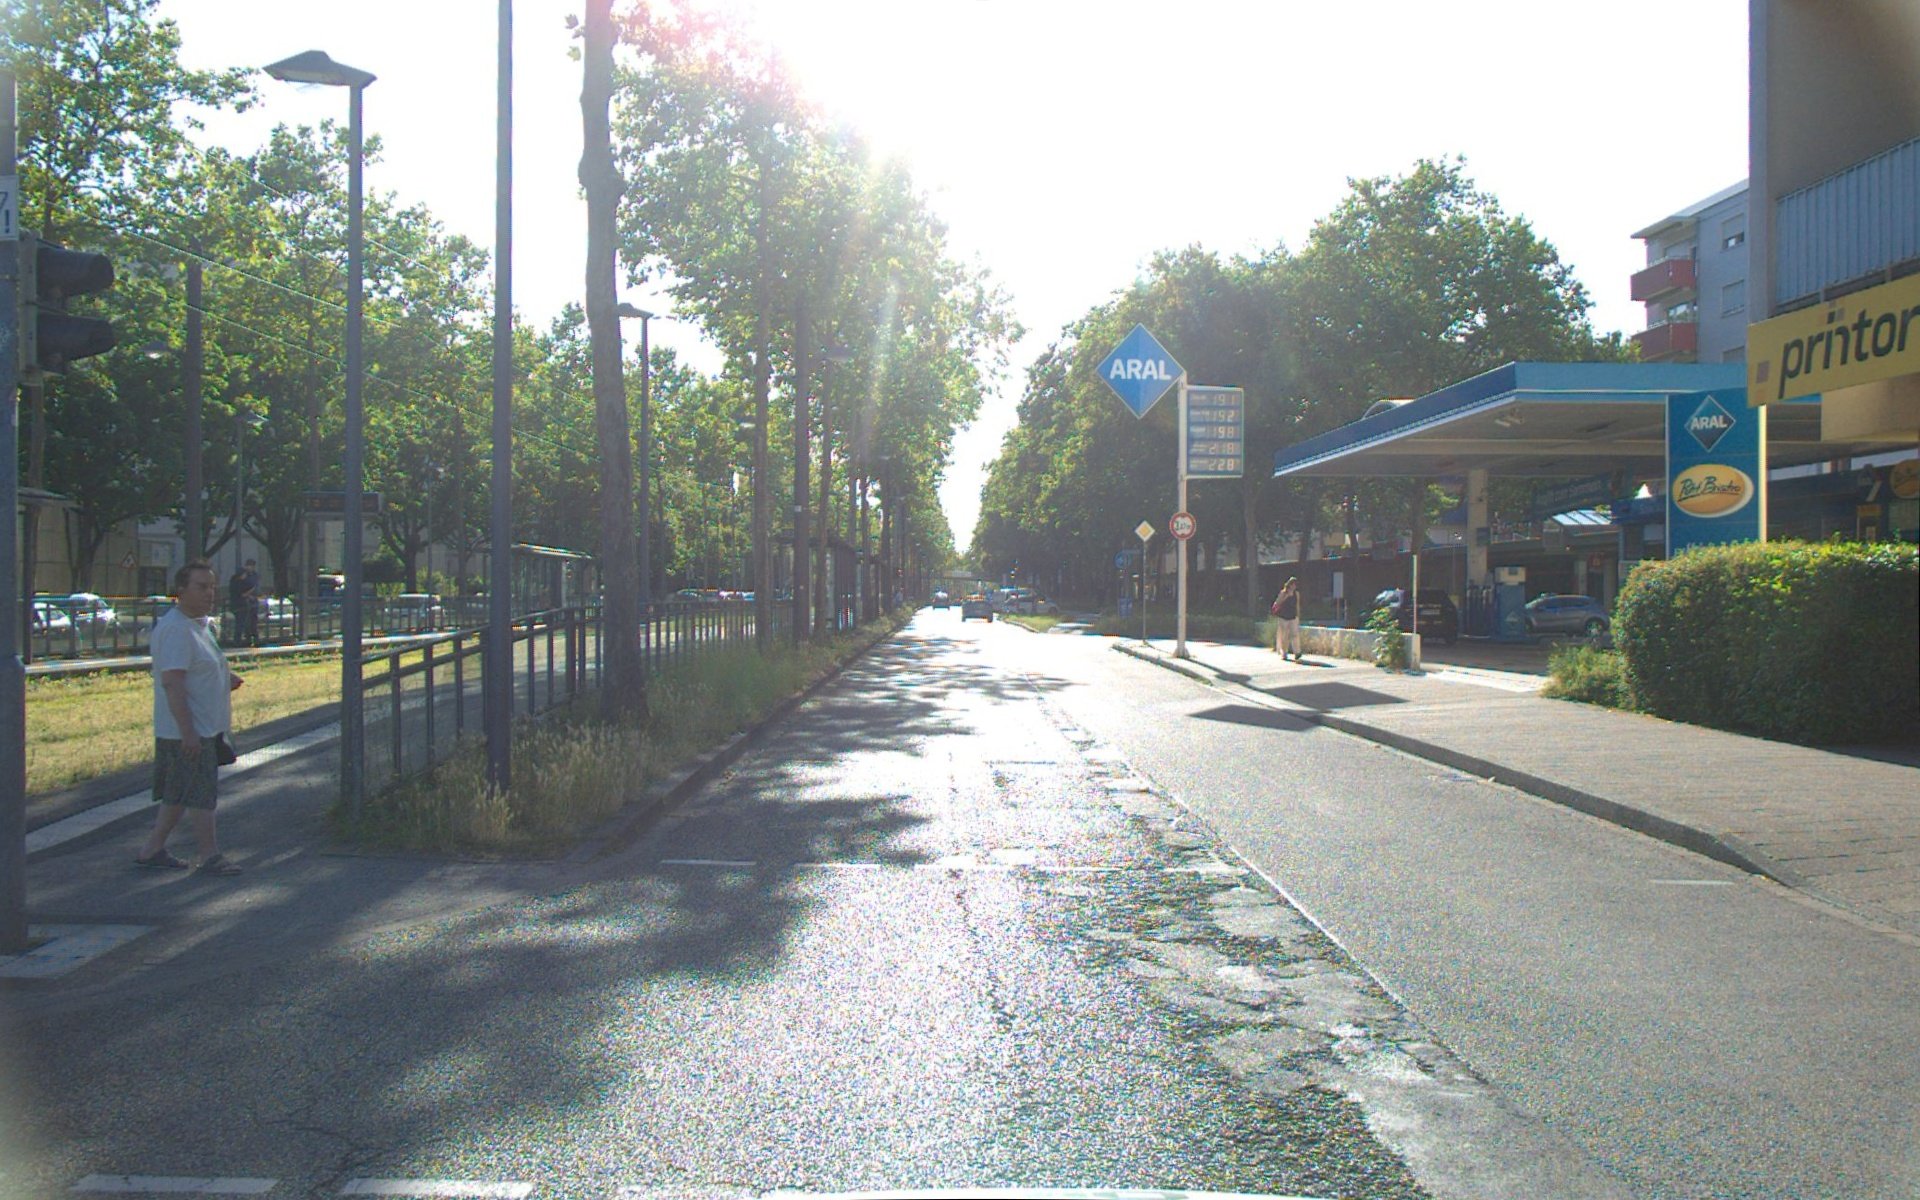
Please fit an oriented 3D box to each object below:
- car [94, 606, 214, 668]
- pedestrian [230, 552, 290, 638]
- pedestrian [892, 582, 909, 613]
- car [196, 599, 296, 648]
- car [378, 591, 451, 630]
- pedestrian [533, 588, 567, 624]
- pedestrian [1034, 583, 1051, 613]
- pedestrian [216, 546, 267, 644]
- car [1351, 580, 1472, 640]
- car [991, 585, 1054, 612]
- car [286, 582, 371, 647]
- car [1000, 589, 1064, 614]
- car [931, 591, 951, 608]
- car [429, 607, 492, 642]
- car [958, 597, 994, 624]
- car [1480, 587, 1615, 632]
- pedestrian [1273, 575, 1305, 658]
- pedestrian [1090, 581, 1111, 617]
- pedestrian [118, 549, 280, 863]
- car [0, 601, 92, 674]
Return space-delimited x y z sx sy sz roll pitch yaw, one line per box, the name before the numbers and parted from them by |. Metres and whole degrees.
car | -23.079 1.017 47.490 1.561 1.664 3.929 0 0 -1
pedestrian | -14.090 -0.101 33.326 0.865 1.719 0.754 1 0 0
pedestrian | -3.452 -0.142 95.855 0.824 1.752 0.831 0 0 14
car | -22.985 0.722 53.362 1.561 1.514 4.019 0 0 -1
car | -23.020 0.426 69.946 1.678 1.573 3.934 0 0 2
pedestrian | -14.859 0.210 59.948 0.821 1.283 0.798 1 0 28
pedestrian | 4.900 -0.122 98.417 0.704 1.736 0.646 -1 -1 -35
pedestrian | -14.115 -0.100 32.494 0.705 1.900 0.637 1 0 0
car | 11.779 0.242 43.392 1.687 1.489 3.999 0 0 -7
car | 4.572 -0.103 120.797 4.629 1.885 1.803 -1 0 -41
car | -23.322 0.506 61.231 1.679 2.301 3.932 0 0 -1
car | 4.785 0.110 110.194 3.948 1.495 1.741 -3 1 -32
car | -1.773 -0.038 153.067 1.811 1.562 3.866 0 0 0
car | -23.795 1.163 78.972 1.678 1.573 4.200 0 0 1
car | 0.892 0.584 94.649 1.883 1.436 3.999 1 0 -1
car | 20.939 0.342 59.074 4.106 1.558 1.982 0 0 -3
pedestrian | 6.891 0.345 34.668 0.591 1.731 0.553 0 0 3
pedestrian | 7.595 -0.050 89.181 0.909 1.918 0.797 0 0 -15
pedestrian | -3.910 0.524 8.535 0.647 1.555 0.537 0 0 -13
car | -20.288 0.765 35.196 1.561 1.470 3.930 0 0 0
